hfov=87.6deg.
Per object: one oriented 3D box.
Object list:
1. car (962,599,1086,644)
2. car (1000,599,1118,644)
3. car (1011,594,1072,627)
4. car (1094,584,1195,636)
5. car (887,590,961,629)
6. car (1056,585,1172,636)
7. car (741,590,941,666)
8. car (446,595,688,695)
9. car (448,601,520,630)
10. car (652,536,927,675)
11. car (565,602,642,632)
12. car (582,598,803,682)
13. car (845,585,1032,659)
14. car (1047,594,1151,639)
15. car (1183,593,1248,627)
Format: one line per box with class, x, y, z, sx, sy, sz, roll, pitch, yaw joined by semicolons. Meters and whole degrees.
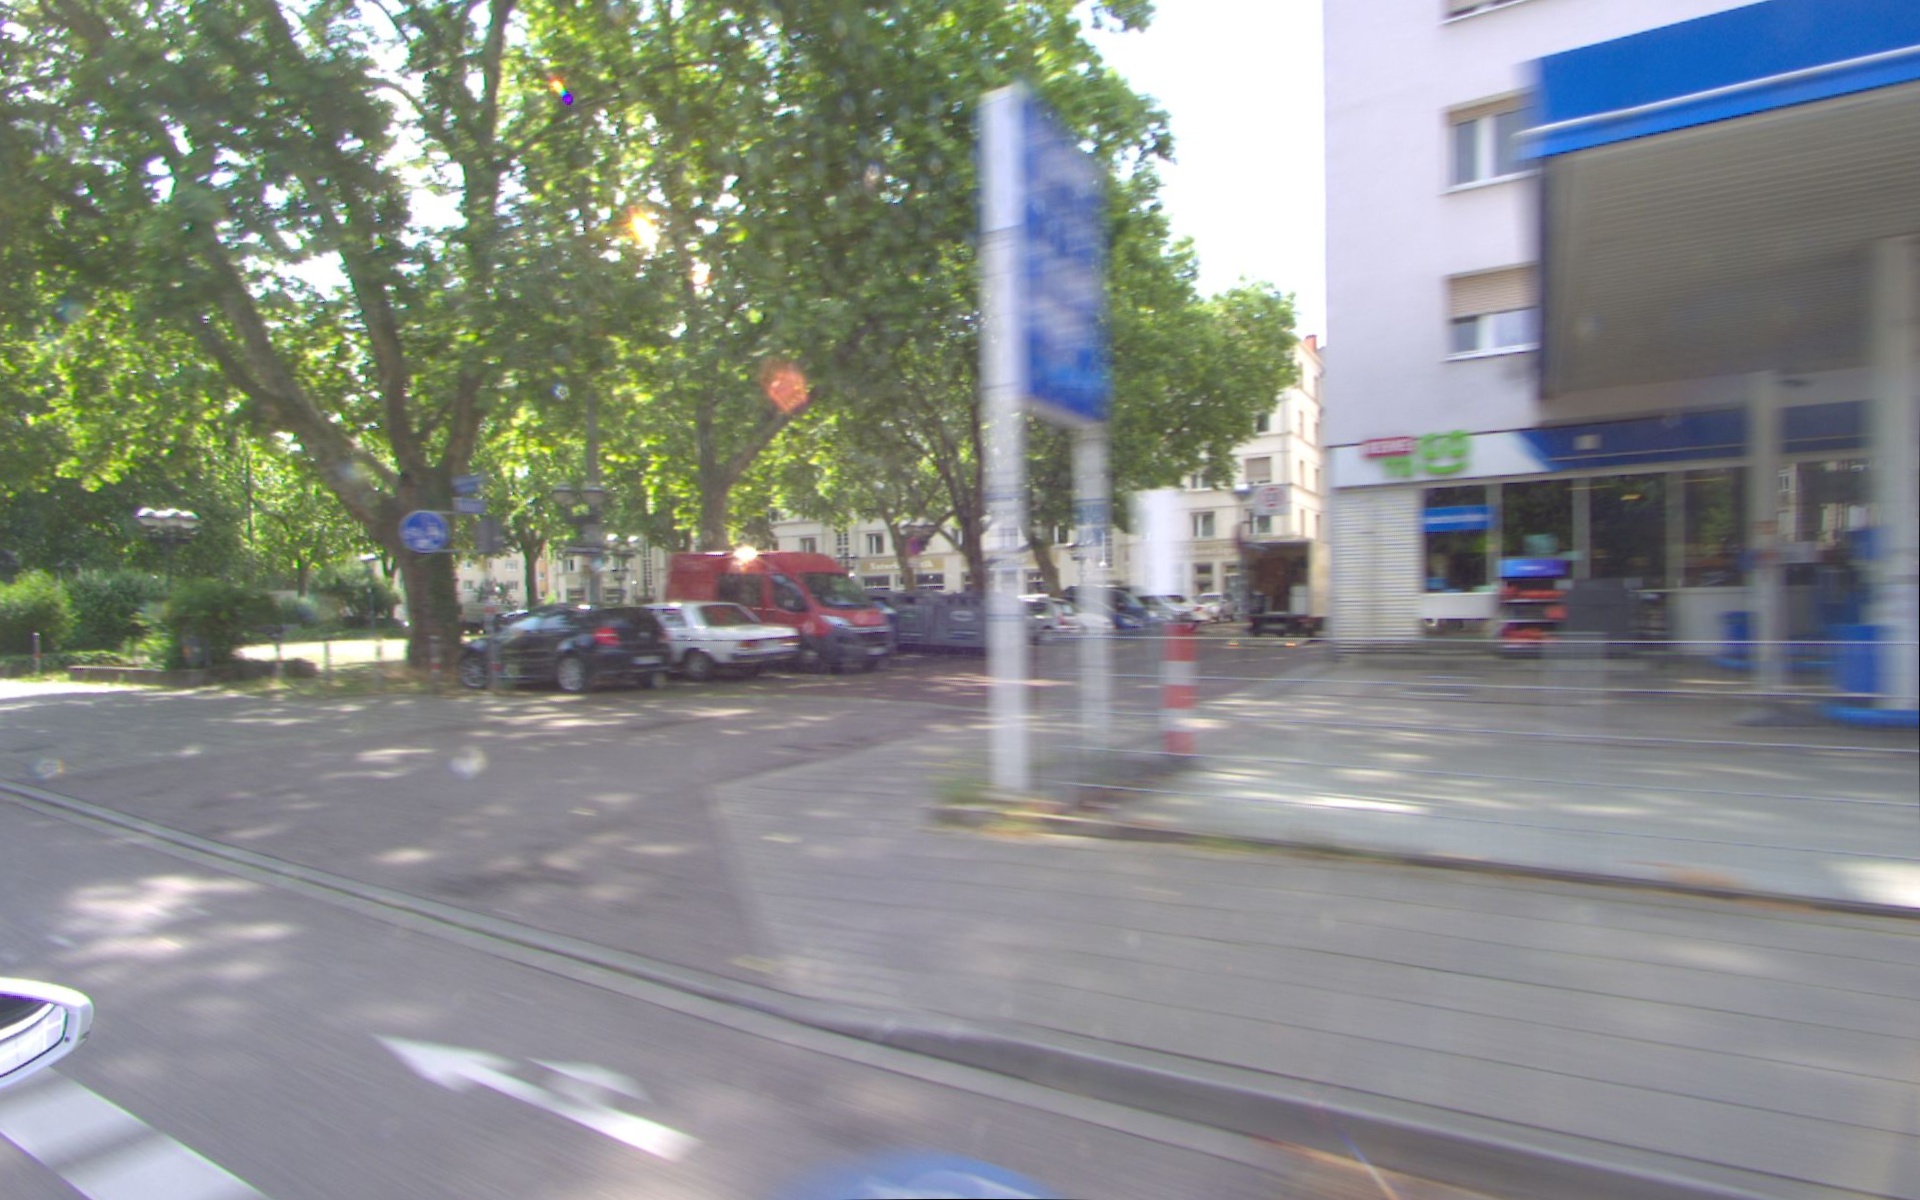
car;2.009;0.677;31.694;3.587;1.381;1.578;-1;-1;29
car;3.296;0.708;33.450;3.587;1.433;1.643;-1;-1;29
car;5.205;0.648;63.322;2.008;1.955;4.672;-1;0;31
car;7.338;0.412;39.873;3.587;2.014;1.821;-1;-1;29
car;-1.927;0.506;54.565;2.047;2.040;4.246;-1;0;31
car;5.841;0.404;38.086;3.986;1.844;1.821;-1;-1;29
car;-2.907;0.652;24.082;4.586;1.672;2.002;-1;-1;33
car;-6.595;0.689;16.708;3.983;1.490;1.646;-1;1;30
car;-35.518;1.163;74.779;2.047;2.040;4.404;-1;0;32
car;-3.736;0.134;21.403;5.934;2.617;2.106;-1;1;33
car;-24.514;1.128;69.021;2.161;1.955;4.669;-1;0;33
car;-5.096;0.720;18.997;3.980;1.448;1.647;-1;1;28
car;-0.598;0.567;26.127;4.586;1.777;2.002;-1;-1;33
car;4.943;0.604;35.554;3.326;1.528;1.597;-1;-1;29
car;14.565;0.548;56.911;2.161;1.828;4.732;-1;0;33
